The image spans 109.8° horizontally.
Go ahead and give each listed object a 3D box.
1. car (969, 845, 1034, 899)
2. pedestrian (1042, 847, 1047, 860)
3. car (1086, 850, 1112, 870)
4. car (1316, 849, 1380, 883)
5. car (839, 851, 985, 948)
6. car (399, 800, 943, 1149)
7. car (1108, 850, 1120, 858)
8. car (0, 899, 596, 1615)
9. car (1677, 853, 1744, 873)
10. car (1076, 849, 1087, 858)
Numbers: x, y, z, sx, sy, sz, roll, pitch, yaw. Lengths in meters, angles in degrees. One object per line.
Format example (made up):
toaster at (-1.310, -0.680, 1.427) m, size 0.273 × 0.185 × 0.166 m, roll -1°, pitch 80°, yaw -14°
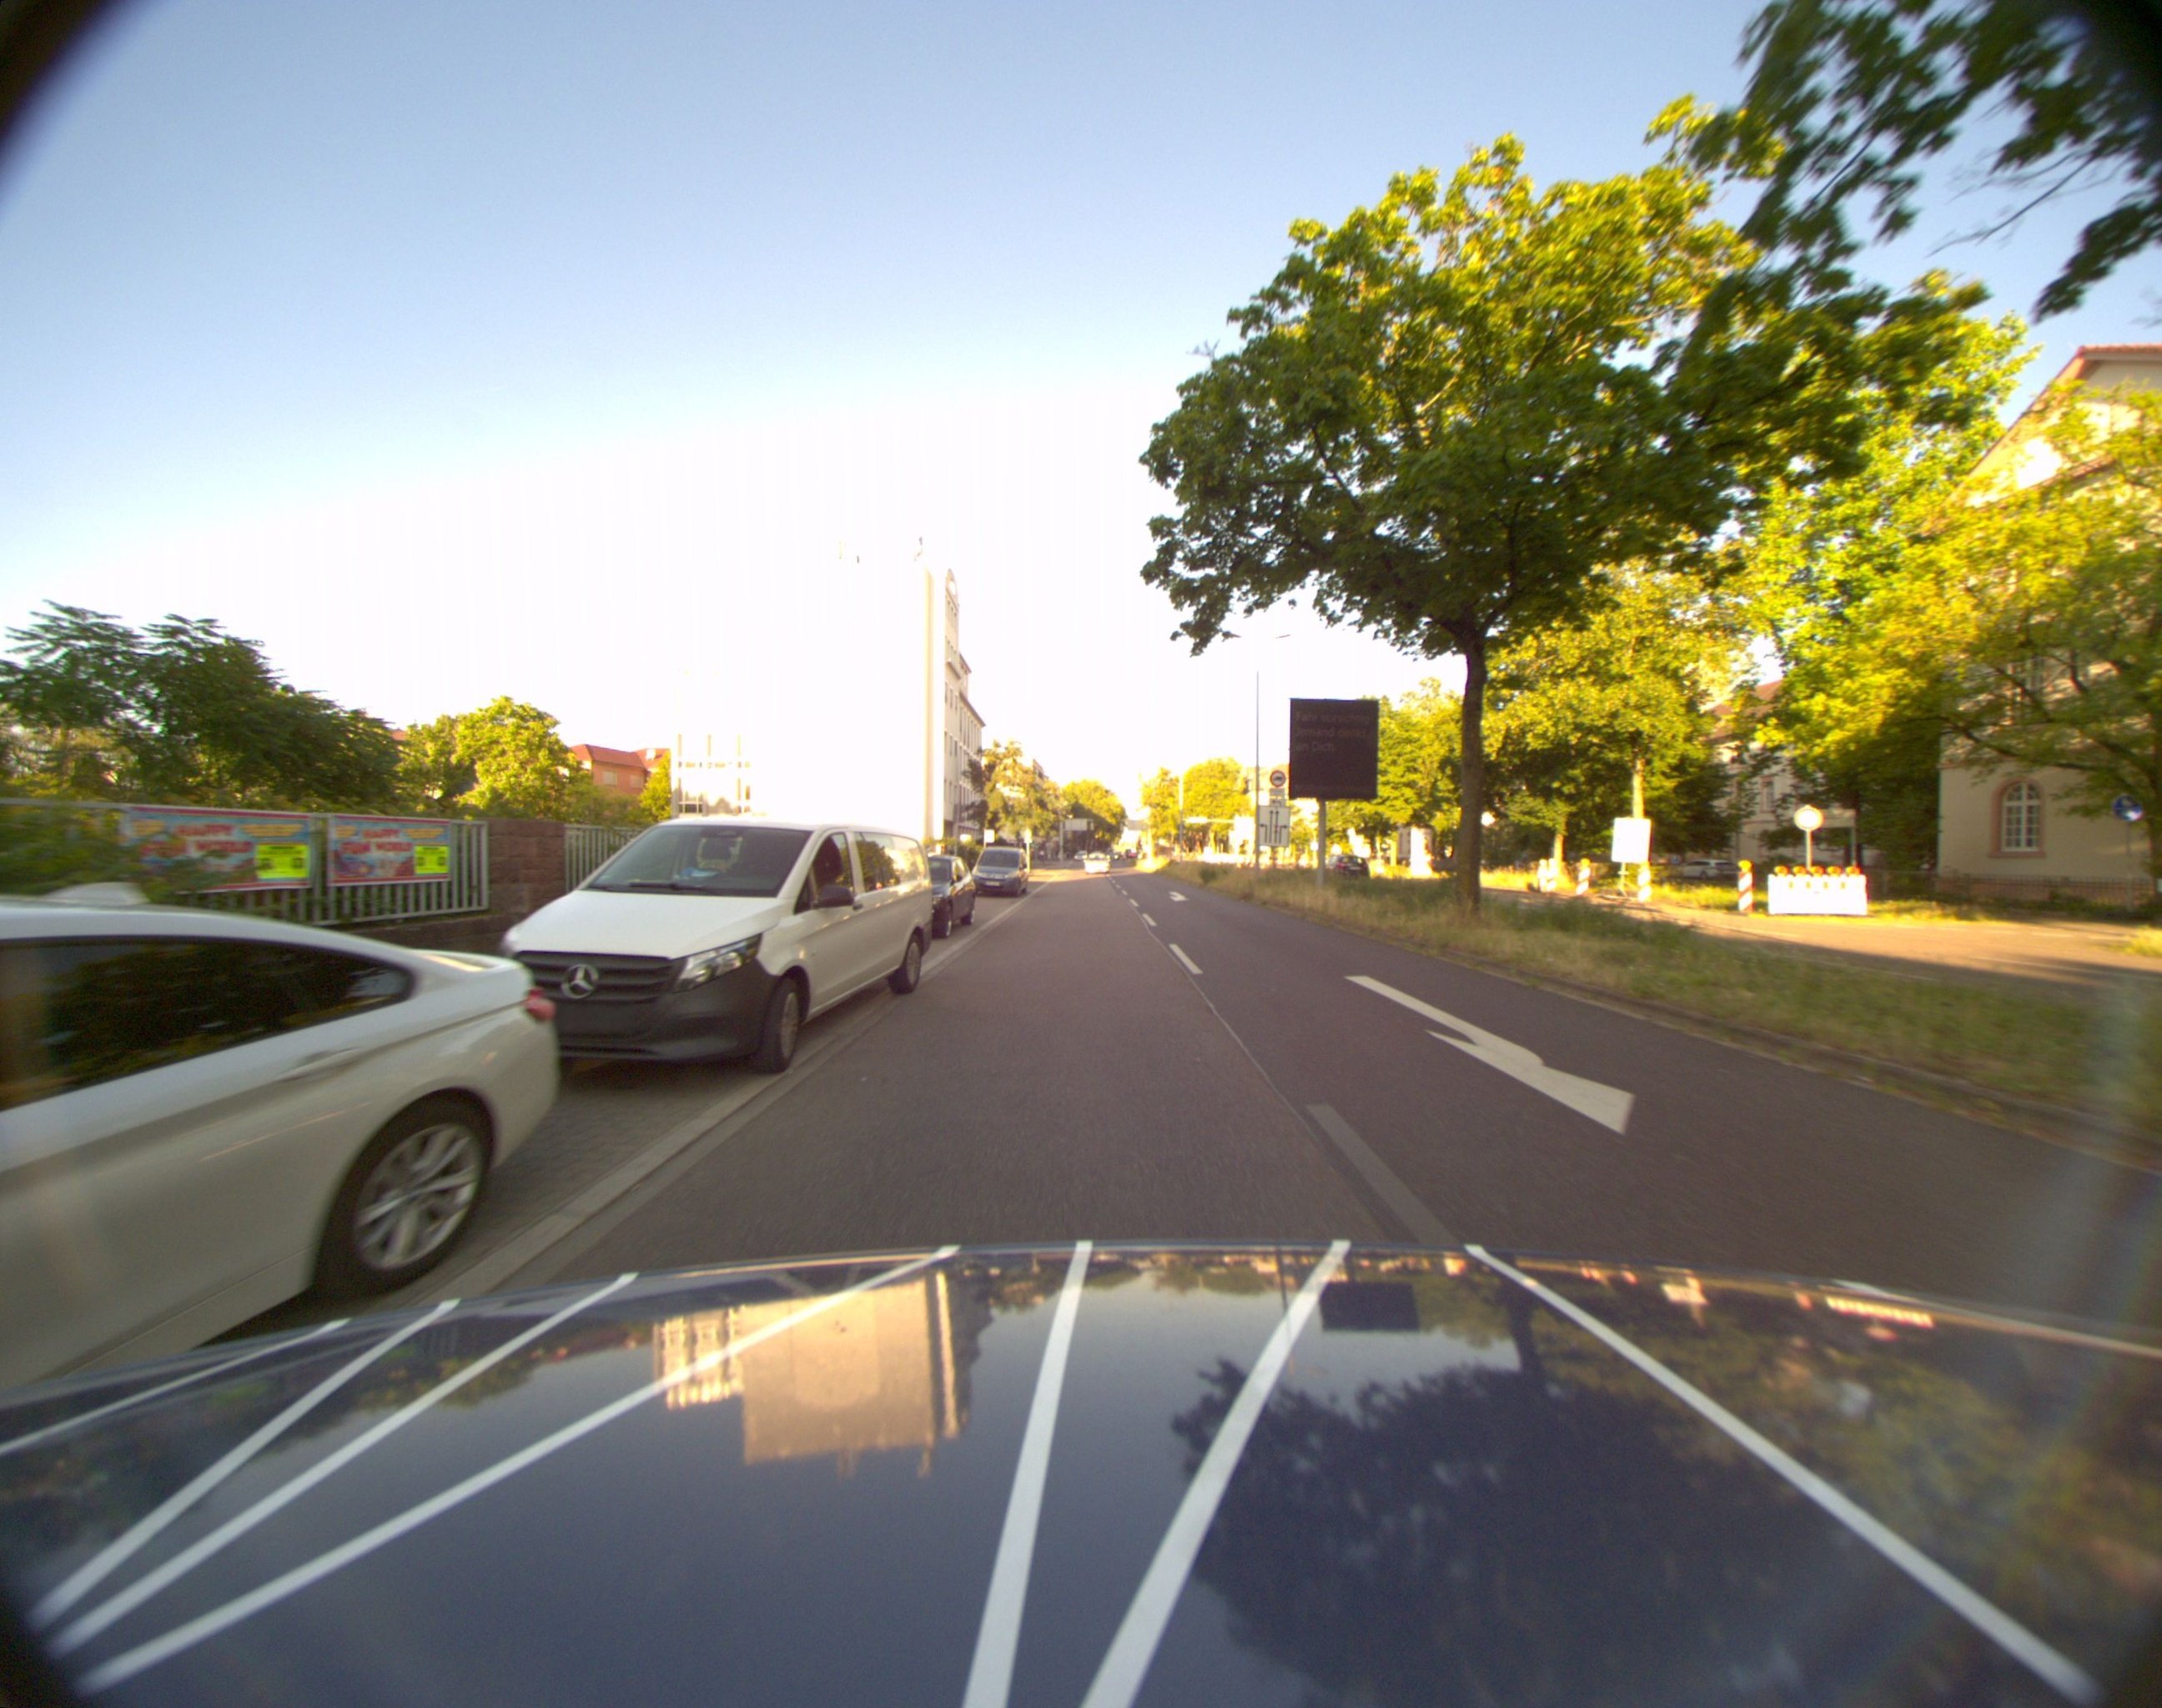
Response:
car at (-2.951, 0.601, 29.000) m, size 1.778 × 1.818 × 4.555 m, roll 3°, pitch 1°, yaw 2°
pedestrian at (-5.120, -0.064, 106.878) m, size 0.721 × 1.835 × 0.748 m, roll 1°, pitch 1°, yaw 1°
car at (1.347, 0.437, 56.587) m, size 1.895 × 1.455 × 3.966 m, roll 1°, pitch 0°, yaw 1°
car at (12.857, 0.542, 36.831) m, size 1.778 × 1.409 × 4.008 m, roll 3°, pitch 1°, yaw 2°
car at (-3.227, 0.780, 15.440) m, size 1.778 × 1.565 × 4.499 m, roll 3°, pitch 1°, yaw 2°
car at (-2.874, 0.670, 6.998) m, size 1.891 × 1.907 × 5.180 m, roll 3°, pitch 1°, yaw 3°
car at (5.818, -0.019, 135.709) m, size 1.947 × 1.259 × 4.163 m, roll 1°, pitch 0°, yaw 0°
car at (-3.267, 0.979, 1.315) m, size 1.732 × 1.377 × 4.642 m, roll 3°, pitch 1°, yaw 1°
car at (46.512, 0.616, 56.211) m, size 1.698 × 1.368 × 4.000 m, roll -2°, pitch 1°, yaw 2°
car at (0.161, -0.097, 136.437) m, size 1.947 × 1.514 × 4.163 m, roll 1°, pitch 0°, yaw 0°
